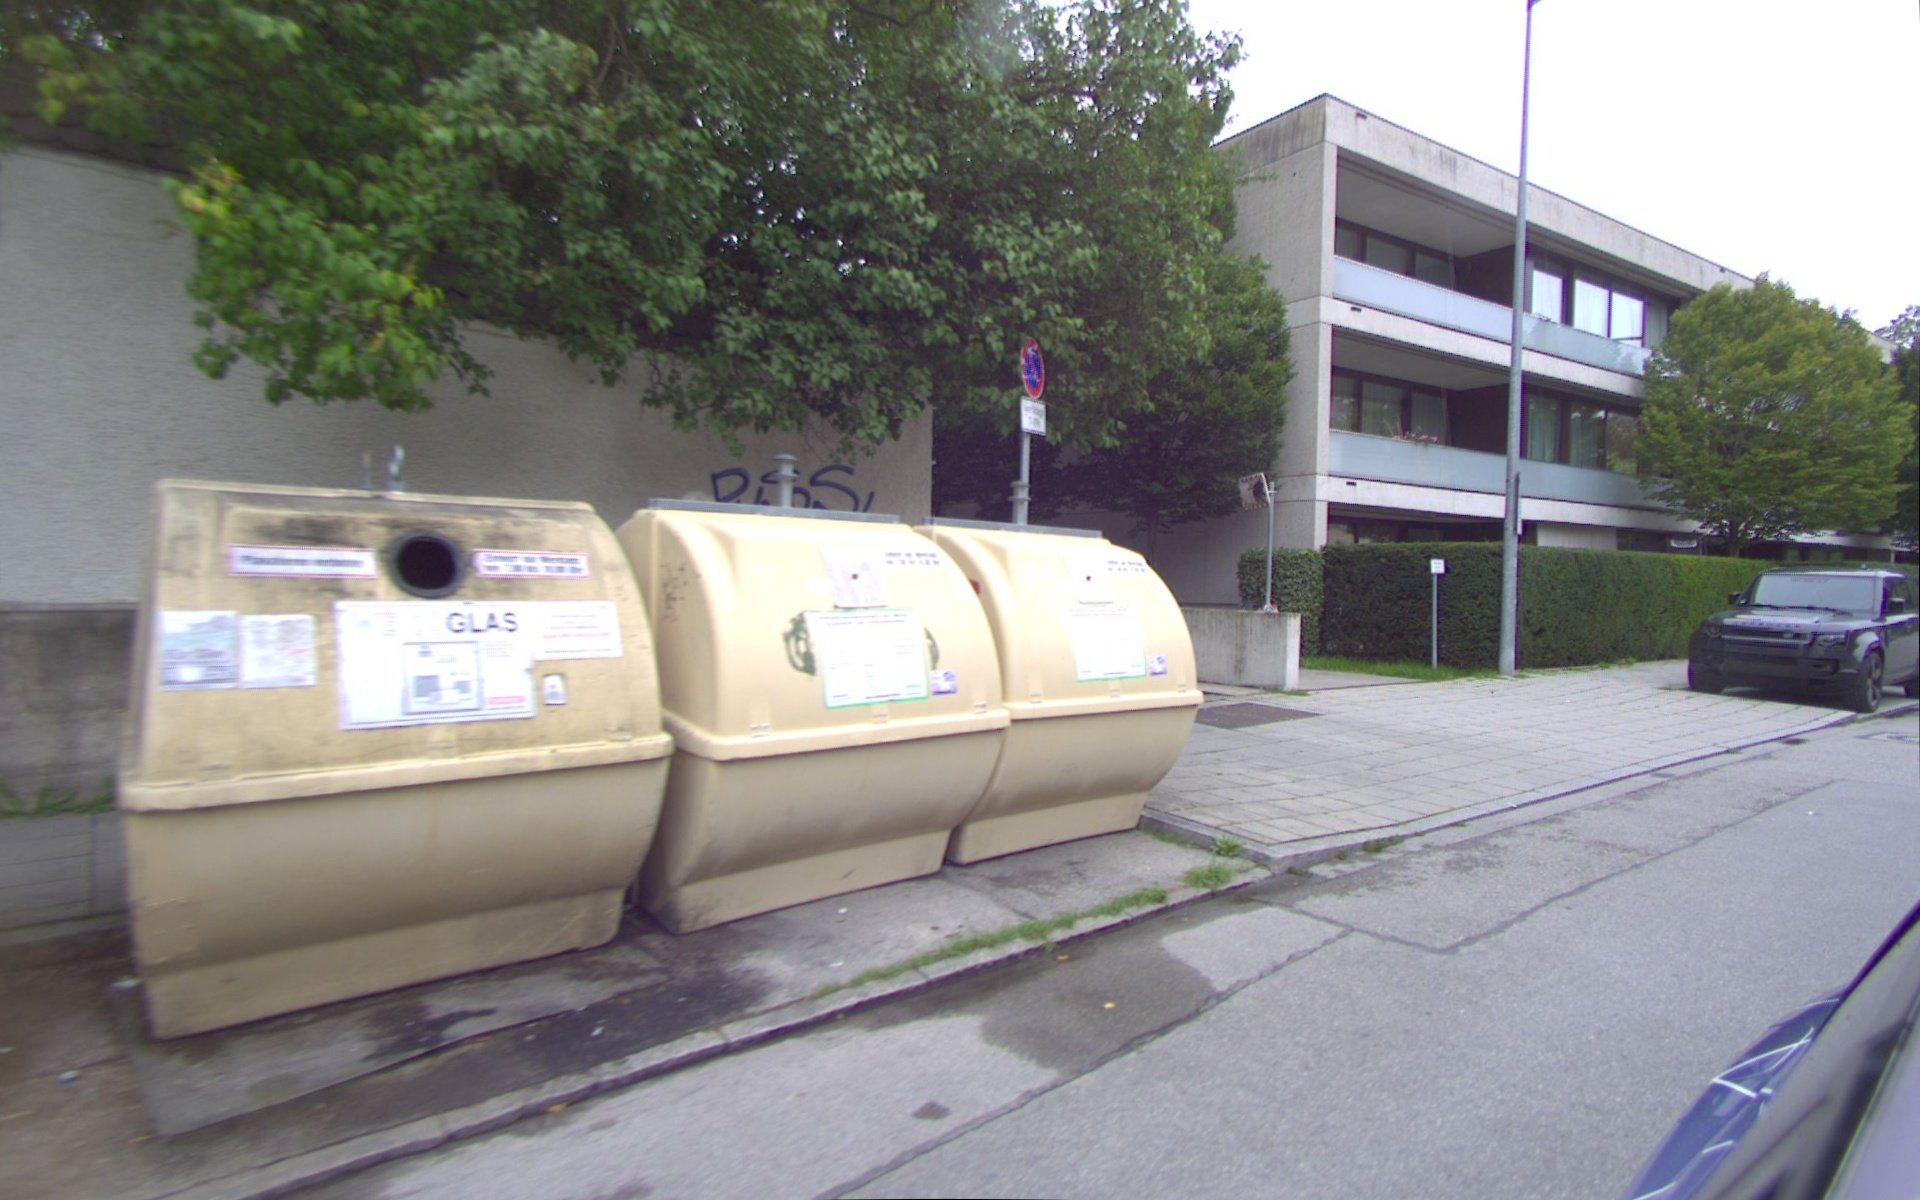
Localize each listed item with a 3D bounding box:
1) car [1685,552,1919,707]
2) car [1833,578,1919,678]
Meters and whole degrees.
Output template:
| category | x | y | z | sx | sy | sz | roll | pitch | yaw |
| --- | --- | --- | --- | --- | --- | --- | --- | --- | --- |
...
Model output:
| category | x | y | z | sx | sy | sz | roll | pitch | yaw |
| --- | --- | --- | --- | --- | --- | --- | --- | --- | --- |
| car | 12.622 | 0.297 | 14.557 | 4.981 | 1.894 | 1.995 | -1 | 2 | -35 |
| car | 16.985 | 0.447 | 17.508 | 4.482 | 1.558 | 1.754 | 0 | 2 | -35 |
